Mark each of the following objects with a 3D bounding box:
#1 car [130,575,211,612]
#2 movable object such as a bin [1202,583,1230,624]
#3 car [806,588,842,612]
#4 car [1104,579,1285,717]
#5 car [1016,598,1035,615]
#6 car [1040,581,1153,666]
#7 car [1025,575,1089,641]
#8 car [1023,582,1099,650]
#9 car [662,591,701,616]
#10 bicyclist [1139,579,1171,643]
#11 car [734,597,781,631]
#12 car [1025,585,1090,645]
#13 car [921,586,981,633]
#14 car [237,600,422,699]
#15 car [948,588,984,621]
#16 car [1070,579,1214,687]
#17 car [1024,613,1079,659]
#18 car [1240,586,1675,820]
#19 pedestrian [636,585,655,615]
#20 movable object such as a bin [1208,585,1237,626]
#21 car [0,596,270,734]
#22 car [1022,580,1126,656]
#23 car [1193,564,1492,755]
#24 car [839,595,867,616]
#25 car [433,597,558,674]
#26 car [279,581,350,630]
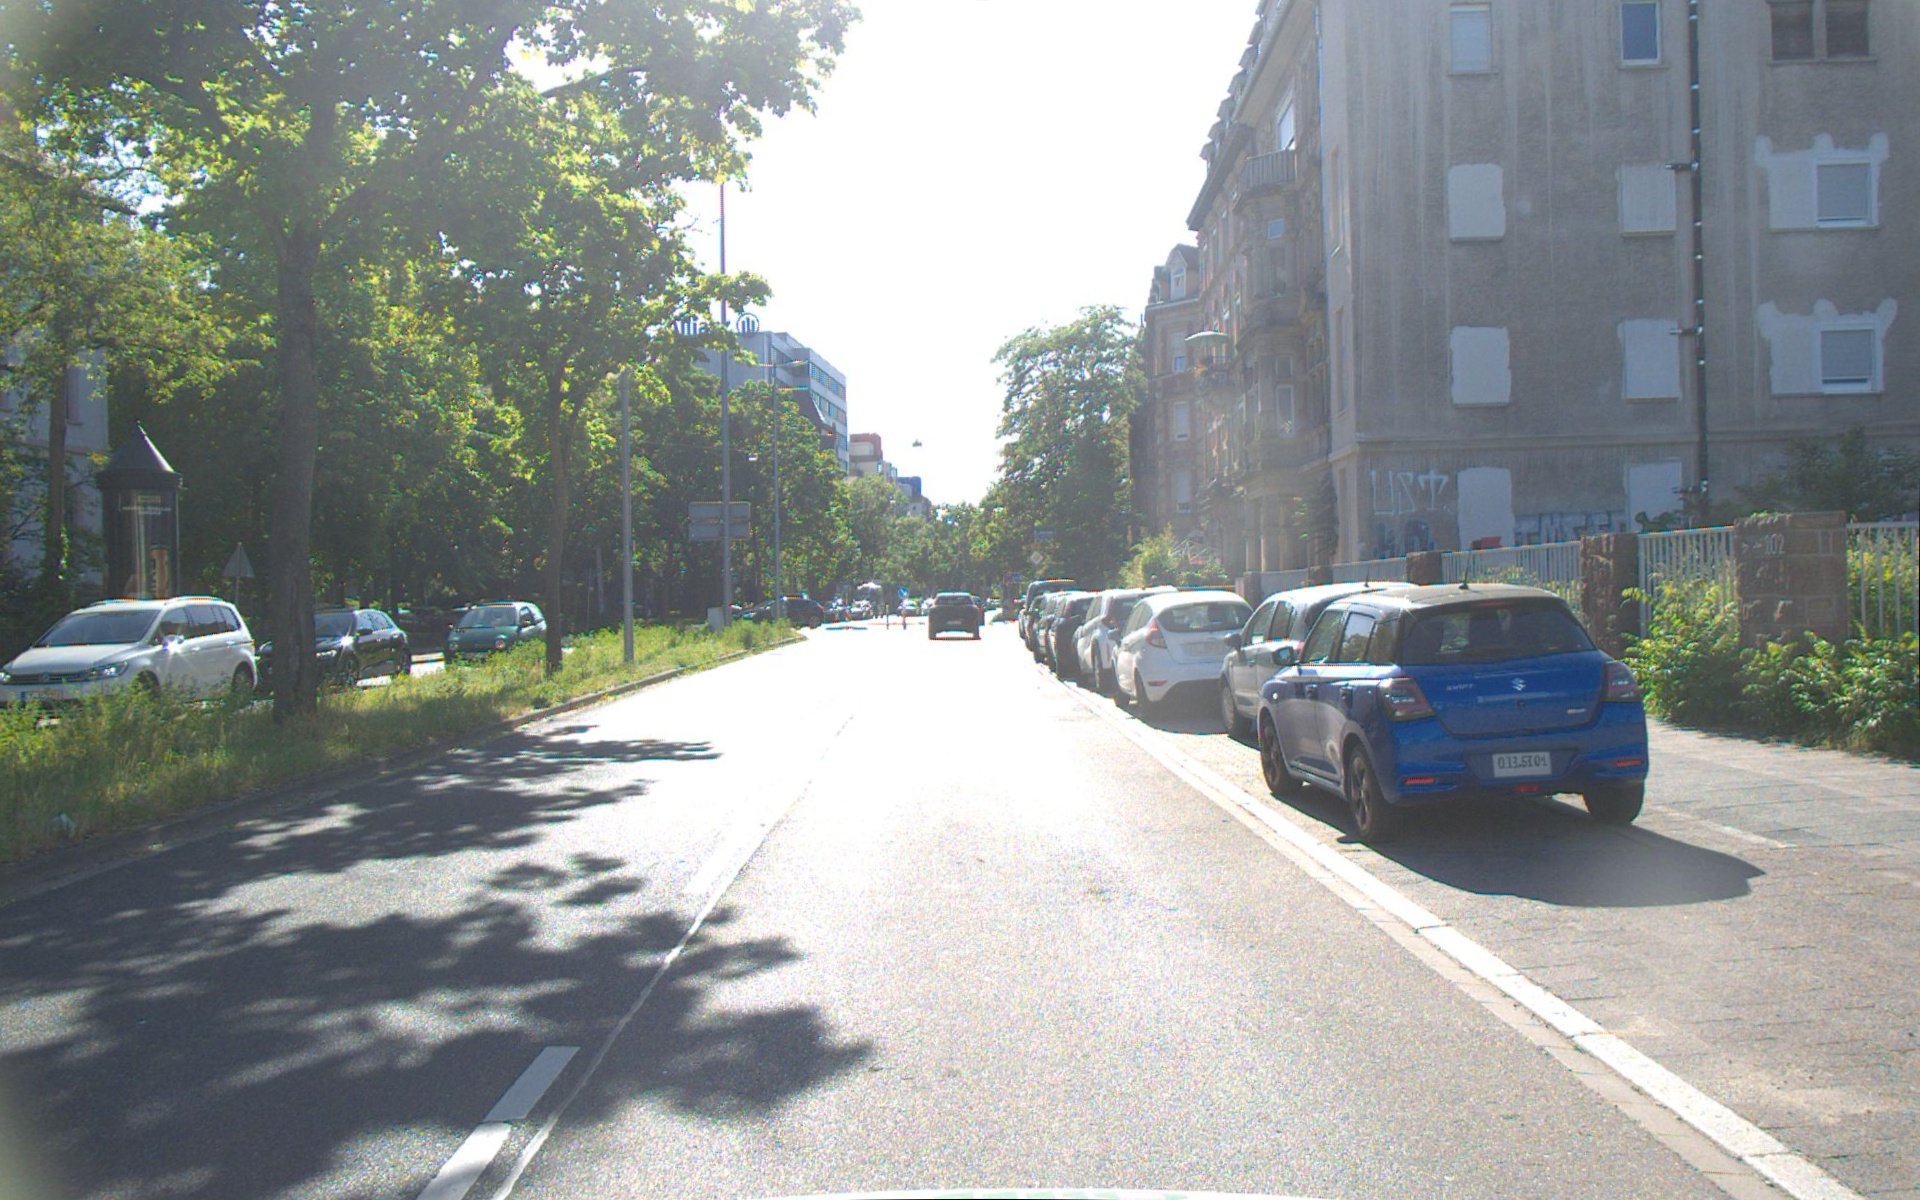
[{"bbox_3d":[-36.684,-0.292,76.953,1.807,1.517,3.999,0,-3,0],"label":"car"},{"bbox_3d":[7.563,0.114,48.887,0.707,1.177,0.608,0,-3,1],"label":"movable object such as a bin"},{"bbox_3d":[-9.418,0.006,114.913,1.721,1.545,3.862,-2,0,7],"label":"car"},{"bbox_3d":[2.874,0.537,20.956,1.576,1.471,3.657,-5,1,-2],"label":"car"},{"bbox_3d":[6.958,0.649,175.717,1.880,1.668,4.002,-2,0,4],"label":"car"},{"bbox_3d":[2.458,0.398,30.538,1.634,1.418,3.774,-2,0,-2],"label":"car"},{"bbox_3d":[2.925,0.220,50.492,1.781,1.876,4.365,-2,0,2],"label":"car"},{"bbox_3d":[2.475,0.358,41.246,1.589,1.496,3.299,4,1,0],"label":"car"},{"bbox_3d":[-19.536,0.227,115.898,1.946,1.691,3.976,-2,0,-20],"label":"car"},{"bbox_3d":[5.041,0.273,42.874,0.726,1.607,1.100,0,1,1],"label":"bicyclist"},{"bbox_3d":[-9.377,0.627,76.952,1.759,1.545,4.422,0,0,-2],"label":"car"},{"bbox_3d":[2.608,0.376,44.974,1.633,1.493,4.275,-2,0,2],"label":"car"},{"bbox_3d":[-0.337,0.327,56.958,1.857,1.545,3.997,1,0,-3],"label":"car"},{"bbox_3d":[-11.139,0.850,29.523,1.759,1.545,4.085,-3,-1,-2],"label":"car"},{"bbox_3d":[0.272,0.212,83.468,1.756,1.547,3.849,0,1,-1],"label":"car"},{"bbox_3d":[2.811,0.476,26.274,1.635,1.545,3.658,-2,0,-4],"label":"car"},{"bbox_3d":[3.120,1.219,57.098,1.674,1.450,4.206,1,0,0],"label":"car"},{"bbox_3d":[3.184,0.571,11.426,1.635,1.203,3.899,-5,1,-2],"label":"car"},{"bbox_3d":[-17.330,0.003,91.179,0.656,1.655,0.713,-1,0,33],"label":"pedestrian"},{"bbox_3d":[7.617,0.163,47.938,0.743,1.177,0.608,0,-3,1],"label":"movable object such as a bin"},{"bbox_3d":[-11.427,0.814,22.934,1.862,1.654,4.535,-2,0,-2],"label":"car"},{"bbox_3d":[2.499,0.363,37.328,1.896,1.545,4.482,-2,0,-2],"label":"car"},{"bbox_3d":[3.533,0.488,16.016,1.635,1.485,3.983,-5,1,-4],"label":"car"},{"bbox_3d":[-8.089,0.413,125.230,1.491,1.457,3.340,-2,0,7],"label":"car"},{"bbox_3d":[-10.158,0.734,36.456,1.605,1.545,4.257,-2,0,-2],"label":"car"},{"bbox_3d":[-34.880,0.334,89.534,1.807,2.365,4.984,0,-3,0],"label":"car"}]
